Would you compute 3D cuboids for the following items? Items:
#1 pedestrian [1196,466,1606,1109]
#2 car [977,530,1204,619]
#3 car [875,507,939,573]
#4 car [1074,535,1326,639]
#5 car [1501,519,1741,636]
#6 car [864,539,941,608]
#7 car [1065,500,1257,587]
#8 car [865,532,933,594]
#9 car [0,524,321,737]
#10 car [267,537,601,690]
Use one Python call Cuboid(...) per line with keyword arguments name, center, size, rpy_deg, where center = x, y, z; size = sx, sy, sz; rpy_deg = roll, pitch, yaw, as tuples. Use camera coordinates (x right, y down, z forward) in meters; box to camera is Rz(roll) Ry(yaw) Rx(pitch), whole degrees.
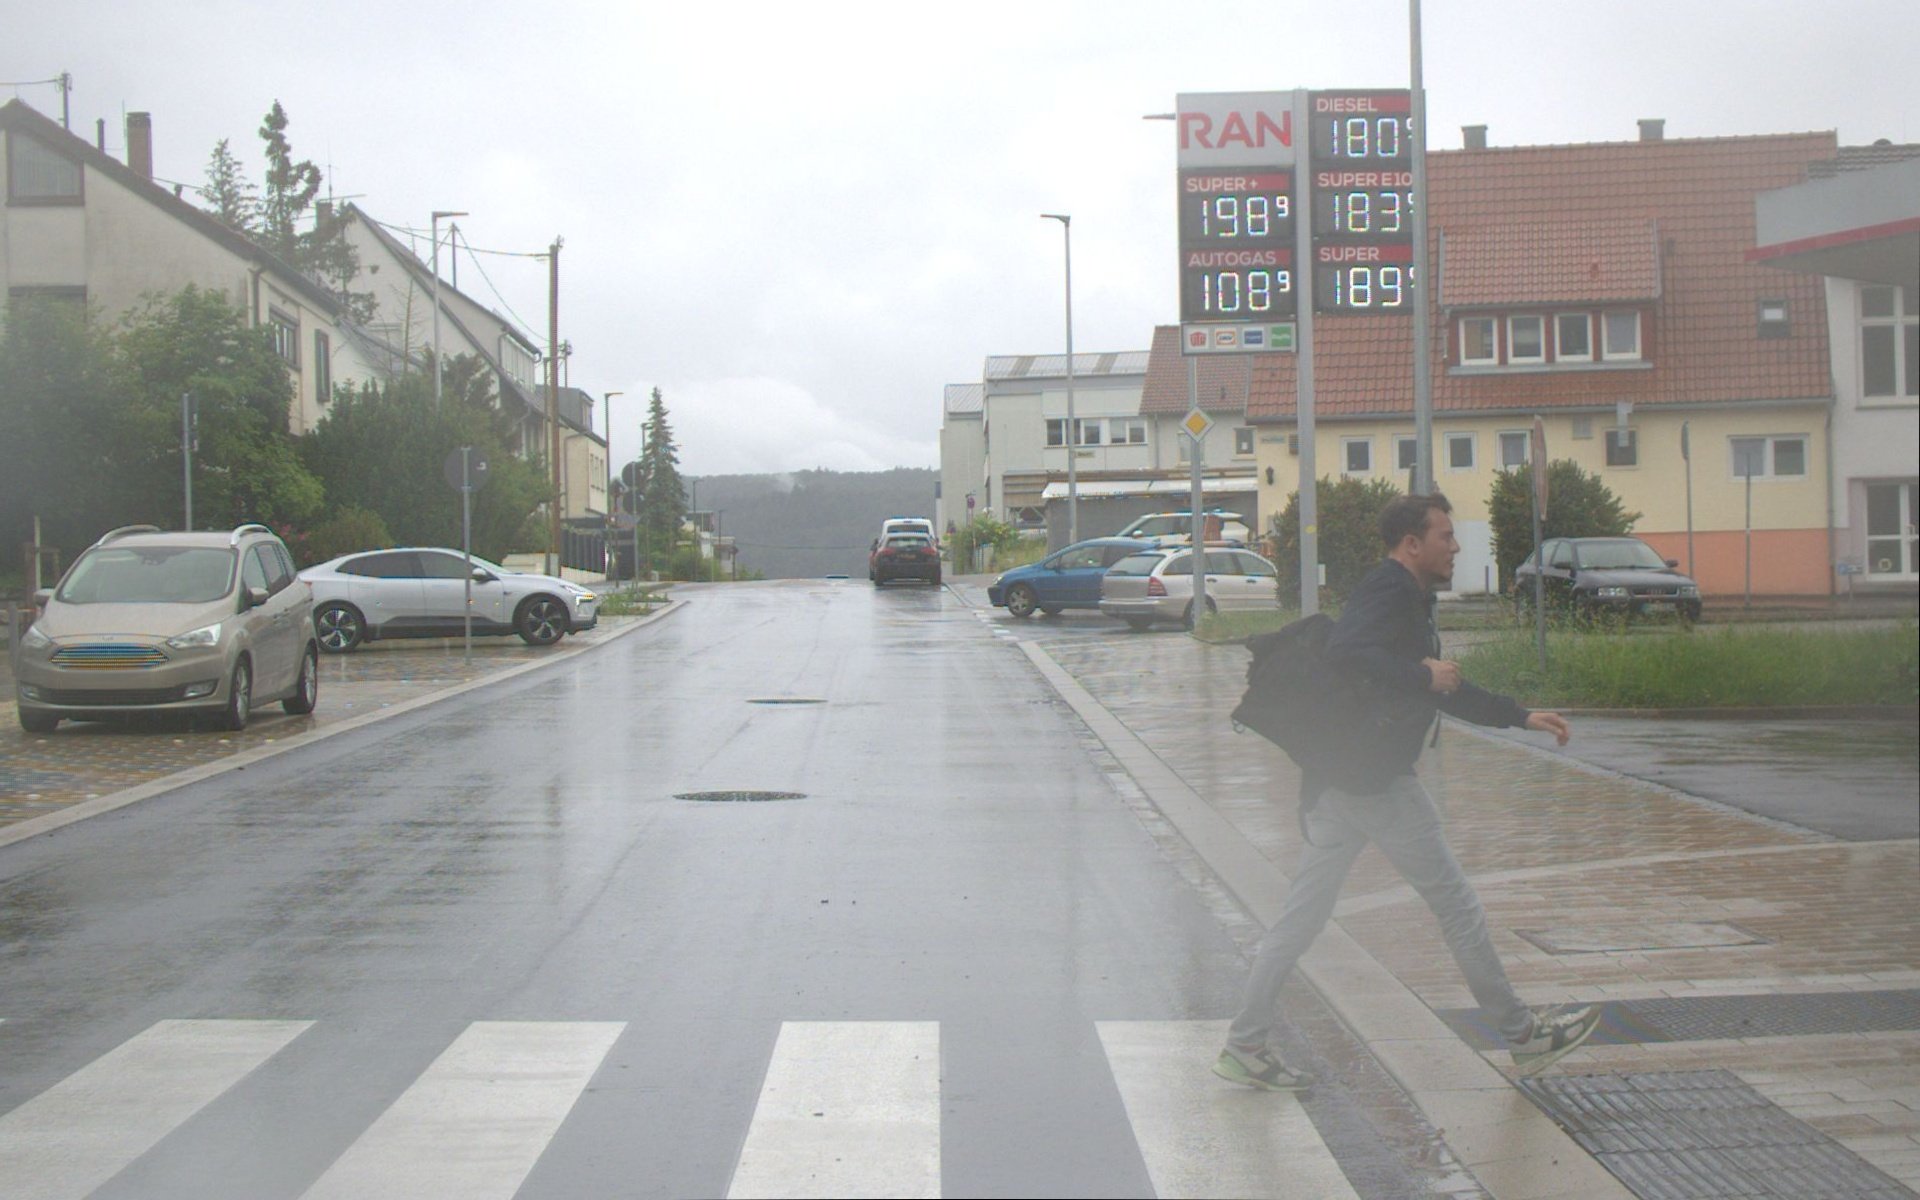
Cuboid(name="pedestrian", center=(1.212, 0.497, 9.614), size=(1.013, 1.718, 0.772), rpy_deg=(0, 1, -3))
Cuboid(name="car", center=(2.530, -0.483, 66.396), size=(3.990, 1.488, 1.856), rpy_deg=(2, -1, 16))
Cuboid(name="car", center=(-1.544, -1.752, 101.053), size=(1.783, 1.700, 4.000), rpy_deg=(3, -1, 0))
Cuboid(name="car", center=(4.147, -0.214, 59.208), size=(3.988, 1.550, 1.954), rpy_deg=(4, -2, -38))
Cuboid(name="car", center=(9.662, -0.291, 50.565), size=(1.993, 1.547, 4.001), rpy_deg=(3, -1, -12))
Cuboid(name="car", center=(-1.562, -0.708, 94.289), size=(1.993, 1.700, 4.000), rpy_deg=(3, -1, 0))
Cuboid(name="car", center=(4.564, -1.280, 78.511), size=(4.112, 1.700, 1.789), rpy_deg=(3, -1, -3))
Cuboid(name="car", center=(-1.883, -1.140, 107.195), size=(1.993, 1.700, 4.000), rpy_deg=(3, -1, 0))
Cuboid(name="car", center=(-6.734, 0.203, 28.808), size=(1.993, 1.623, 4.153), rpy_deg=(-1, 1, 0))
Cuboid(name="car", center=(-7.914, 0.217, 51.580), size=(4.751, 2.007, 2.000), rpy_deg=(3, -1, -12))
